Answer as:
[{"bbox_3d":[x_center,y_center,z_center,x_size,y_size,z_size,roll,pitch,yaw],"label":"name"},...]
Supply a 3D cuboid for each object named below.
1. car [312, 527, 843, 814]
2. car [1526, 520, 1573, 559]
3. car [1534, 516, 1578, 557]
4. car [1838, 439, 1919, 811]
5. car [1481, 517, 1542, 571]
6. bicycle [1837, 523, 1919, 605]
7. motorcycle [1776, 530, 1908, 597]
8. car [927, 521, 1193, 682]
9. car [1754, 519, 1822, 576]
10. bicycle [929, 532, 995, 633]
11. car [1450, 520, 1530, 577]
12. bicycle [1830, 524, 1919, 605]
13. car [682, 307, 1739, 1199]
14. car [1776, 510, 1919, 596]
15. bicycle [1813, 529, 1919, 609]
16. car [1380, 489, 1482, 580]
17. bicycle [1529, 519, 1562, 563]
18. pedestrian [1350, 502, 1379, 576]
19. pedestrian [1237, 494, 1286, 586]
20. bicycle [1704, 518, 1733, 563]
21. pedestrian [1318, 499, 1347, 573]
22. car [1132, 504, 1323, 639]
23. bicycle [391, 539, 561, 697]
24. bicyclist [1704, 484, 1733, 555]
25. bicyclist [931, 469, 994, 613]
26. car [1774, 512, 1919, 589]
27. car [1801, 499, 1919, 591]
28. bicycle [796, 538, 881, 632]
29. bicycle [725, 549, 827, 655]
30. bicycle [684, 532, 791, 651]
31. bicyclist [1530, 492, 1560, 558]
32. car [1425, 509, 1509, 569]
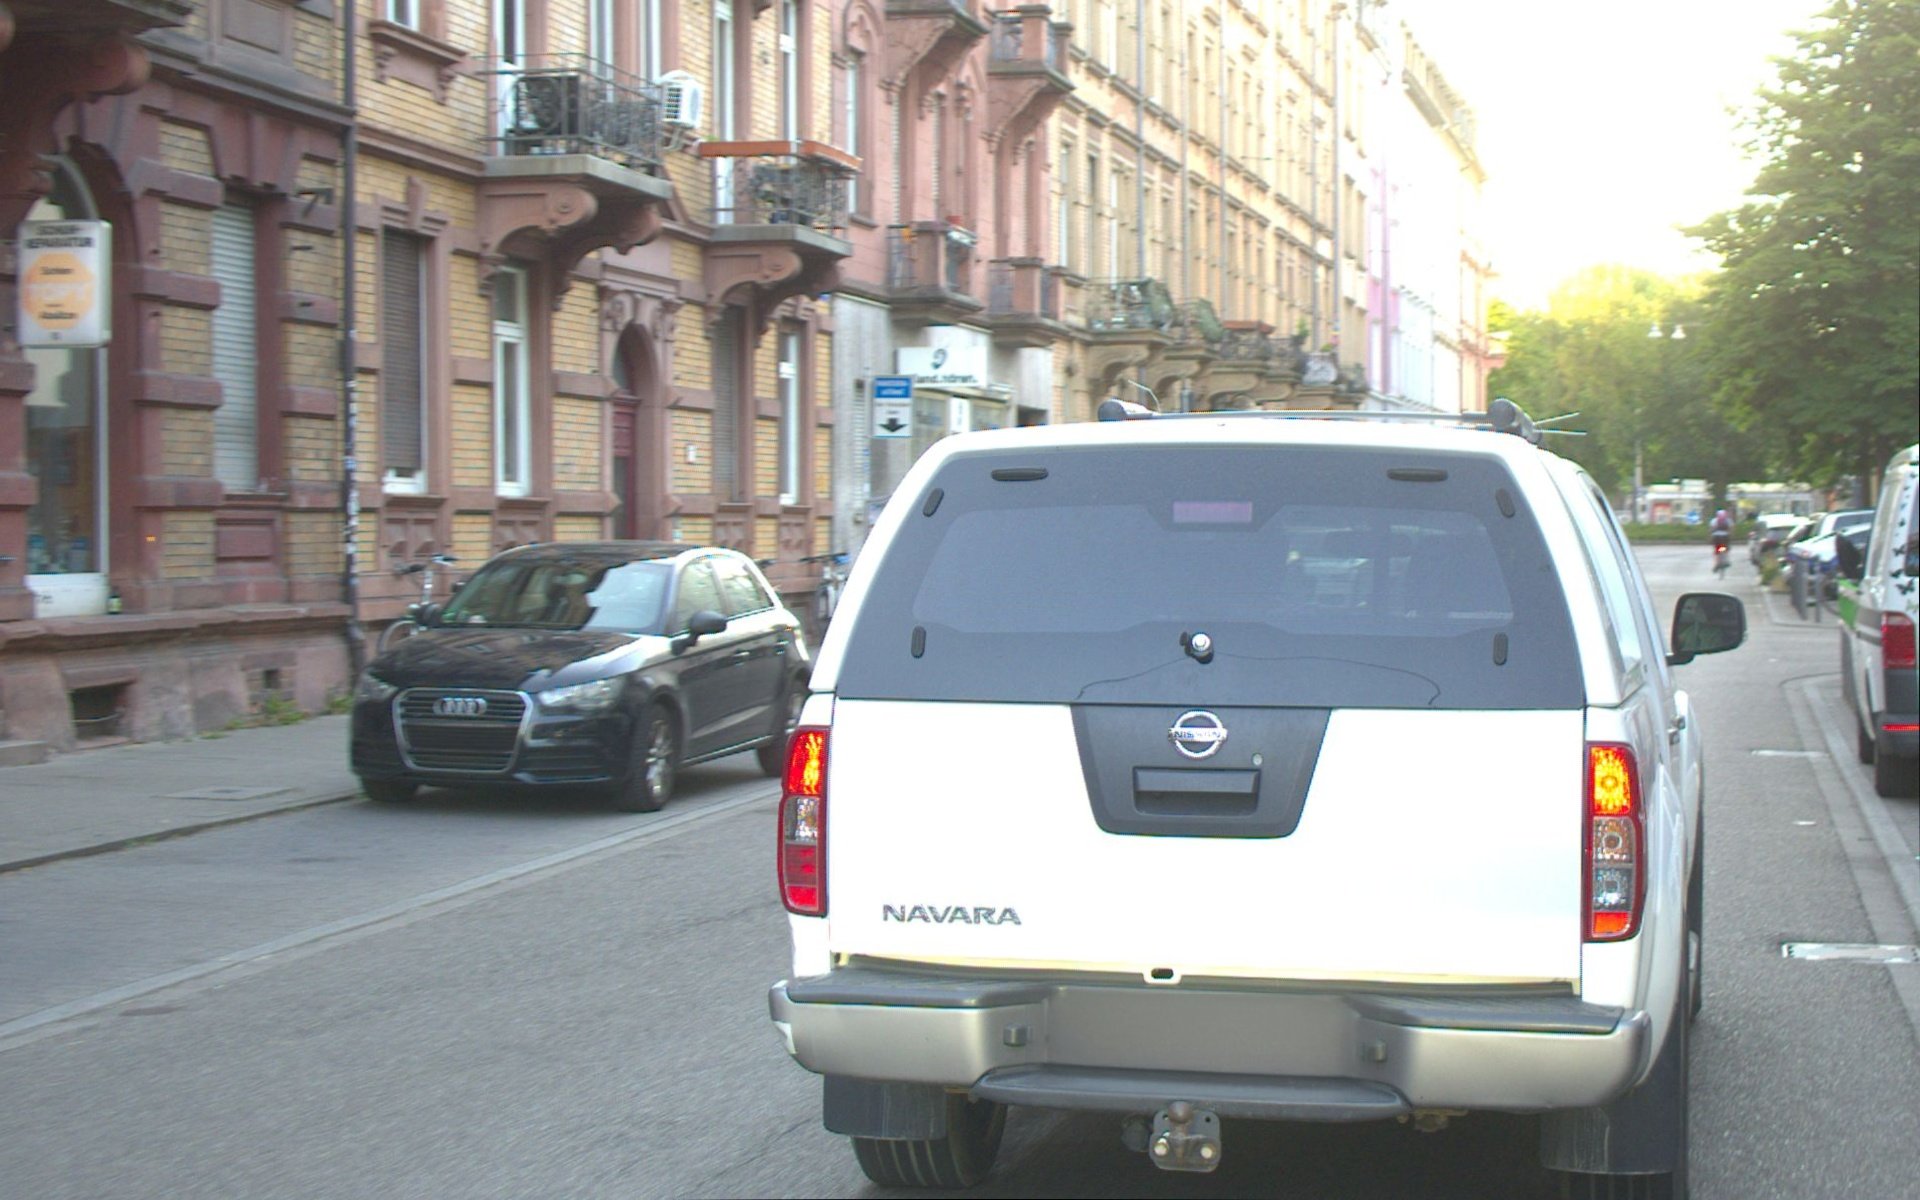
[{"bbox_3d":[-2.064,0.316,19.666,1.695,1.415,3.852,1,2,15],"label":"car"},{"bbox_3d":[22.627,-2.339,131.840,1.699,1.421,4.020,2,2,10],"label":"car"},{"bbox_3d":[23.870,-2.556,137.634,1.699,1.547,4.020,2,2,10],"label":"car"},{"bbox_3d":[6.331,0.036,20.511,1.960,1.967,5.000,-2,1,13],"label":"car"},{"bbox_3d":[16.748,-1.717,104.270,1.637,1.560,3.780,1,2,12],"label":"car"},{"bbox_3d":[14.480,-0.567,52.810,1.790,1.178,0.733,-4,0,24],"label":"bicycle"},{"bbox_3d":[15.061,-0.623,58.726,2.057,1.074,0.664,-2,0,-2],"label":"motorcycle"},{"bbox_3d":[1.053,-0.038,33.445,1.724,1.416,4.579,1,1,13],"label":"car"},{"bbox_3d":[22.797,-1.464,94.664,1.677,1.424,4.475,-4,1,14],"label":"car"},{"bbox_3d":[0.020,-0.213,41.825,0.708,1.192,1.742,1,0,-3],"label":"bicycle"},{"bbox_3d":[14.635,-1.439,94.782,1.835,1.453,4.204,3,2,13],"label":"car"},{"bbox_3d":[14.599,-0.572,53.648,1.870,1.178,0.742,-4,0,18],"label":"bicycle"},{"bbox_3d":[1.012,0.362,8.930,1.912,1.847,5.267,0,1,13],"label":"car"},{"bbox_3d":[17.207,-0.898,62.430,4.424,1.450,1.779,-2,1,7],"label":"car"},{"bbox_3d":[13.335,-0.459,50.050,1.723,1.114,0.706,-2,0,11],"label":"bicycle"},{"bbox_3d":[10.582,-1.487,76.946,1.994,1.917,4.949,2,2,10],"label":"car"},{"bbox_3d":[14.739,-1.488,86.582,0.645,1.077,2.168,-2,1,5],"label":"bicycle"},{"bbox_3d":[9.898,-1.506,84.115,0.605,1.766,0.777,3,3,9],"label":"pedestrian"},{"bbox_3d":[5.798,-1.158,66.061,0.555,1.749,1.020,1,0,30],"label":"pedestrian"},{"bbox_3d":[18.995,-1.497,86.095,0.645,1.077,1.831,-2,1,11],"label":"bicycle"},{"bbox_3d":[9.110,-1.579,84.130,0.580,1.765,0.997,3,3,9],"label":"pedestrian"},{"bbox_3d":[3.556,-0.422,44.976,1.854,1.628,4.443,1,2,13],"label":"car"},{"bbox_3d":[-3.829,0.122,27.371,0.527,1.167,2.046,2,2,16],"label":"bicycle"},{"bbox_3d":[18.972,-2.021,86.020,0.645,1.754,0.648,-2,1,11],"label":"bicyclist"},{"bbox_3d":[0.028,-0.711,41.851,0.708,1.723,0.843,1,0,-3],"label":"bicyclist"},{"bbox_3d":[18.728,-1.037,70.217,3.989,1.451,1.827,-2,1,11],"label":"car"},{"bbox_3d":[18.223,-1.083,65.026,4.401,1.642,1.745,-2,1,13],"label":"car"},{"bbox_3d":[-1.380,-0.186,39.305,0.449,1.019,1.847,4,2,13],"label":"bicycle"},{"bbox_3d":[-1.915,0.006,36.001,0.549,1.033,1.759,3,2,13],"label":"bicycle"},{"bbox_3d":[-2.228,-0.101,34.631,0.549,1.119,1.759,3,2,13],"label":"bicycle"},{"bbox_3d":[14.735,-1.887,86.586,0.645,1.615,0.918,-2,1,5],"label":"bicyclist"},{"bbox_3d":[12.712,-1.512,86.013,1.737,1.413,4.776,2,1,12],"label":"car"}]
